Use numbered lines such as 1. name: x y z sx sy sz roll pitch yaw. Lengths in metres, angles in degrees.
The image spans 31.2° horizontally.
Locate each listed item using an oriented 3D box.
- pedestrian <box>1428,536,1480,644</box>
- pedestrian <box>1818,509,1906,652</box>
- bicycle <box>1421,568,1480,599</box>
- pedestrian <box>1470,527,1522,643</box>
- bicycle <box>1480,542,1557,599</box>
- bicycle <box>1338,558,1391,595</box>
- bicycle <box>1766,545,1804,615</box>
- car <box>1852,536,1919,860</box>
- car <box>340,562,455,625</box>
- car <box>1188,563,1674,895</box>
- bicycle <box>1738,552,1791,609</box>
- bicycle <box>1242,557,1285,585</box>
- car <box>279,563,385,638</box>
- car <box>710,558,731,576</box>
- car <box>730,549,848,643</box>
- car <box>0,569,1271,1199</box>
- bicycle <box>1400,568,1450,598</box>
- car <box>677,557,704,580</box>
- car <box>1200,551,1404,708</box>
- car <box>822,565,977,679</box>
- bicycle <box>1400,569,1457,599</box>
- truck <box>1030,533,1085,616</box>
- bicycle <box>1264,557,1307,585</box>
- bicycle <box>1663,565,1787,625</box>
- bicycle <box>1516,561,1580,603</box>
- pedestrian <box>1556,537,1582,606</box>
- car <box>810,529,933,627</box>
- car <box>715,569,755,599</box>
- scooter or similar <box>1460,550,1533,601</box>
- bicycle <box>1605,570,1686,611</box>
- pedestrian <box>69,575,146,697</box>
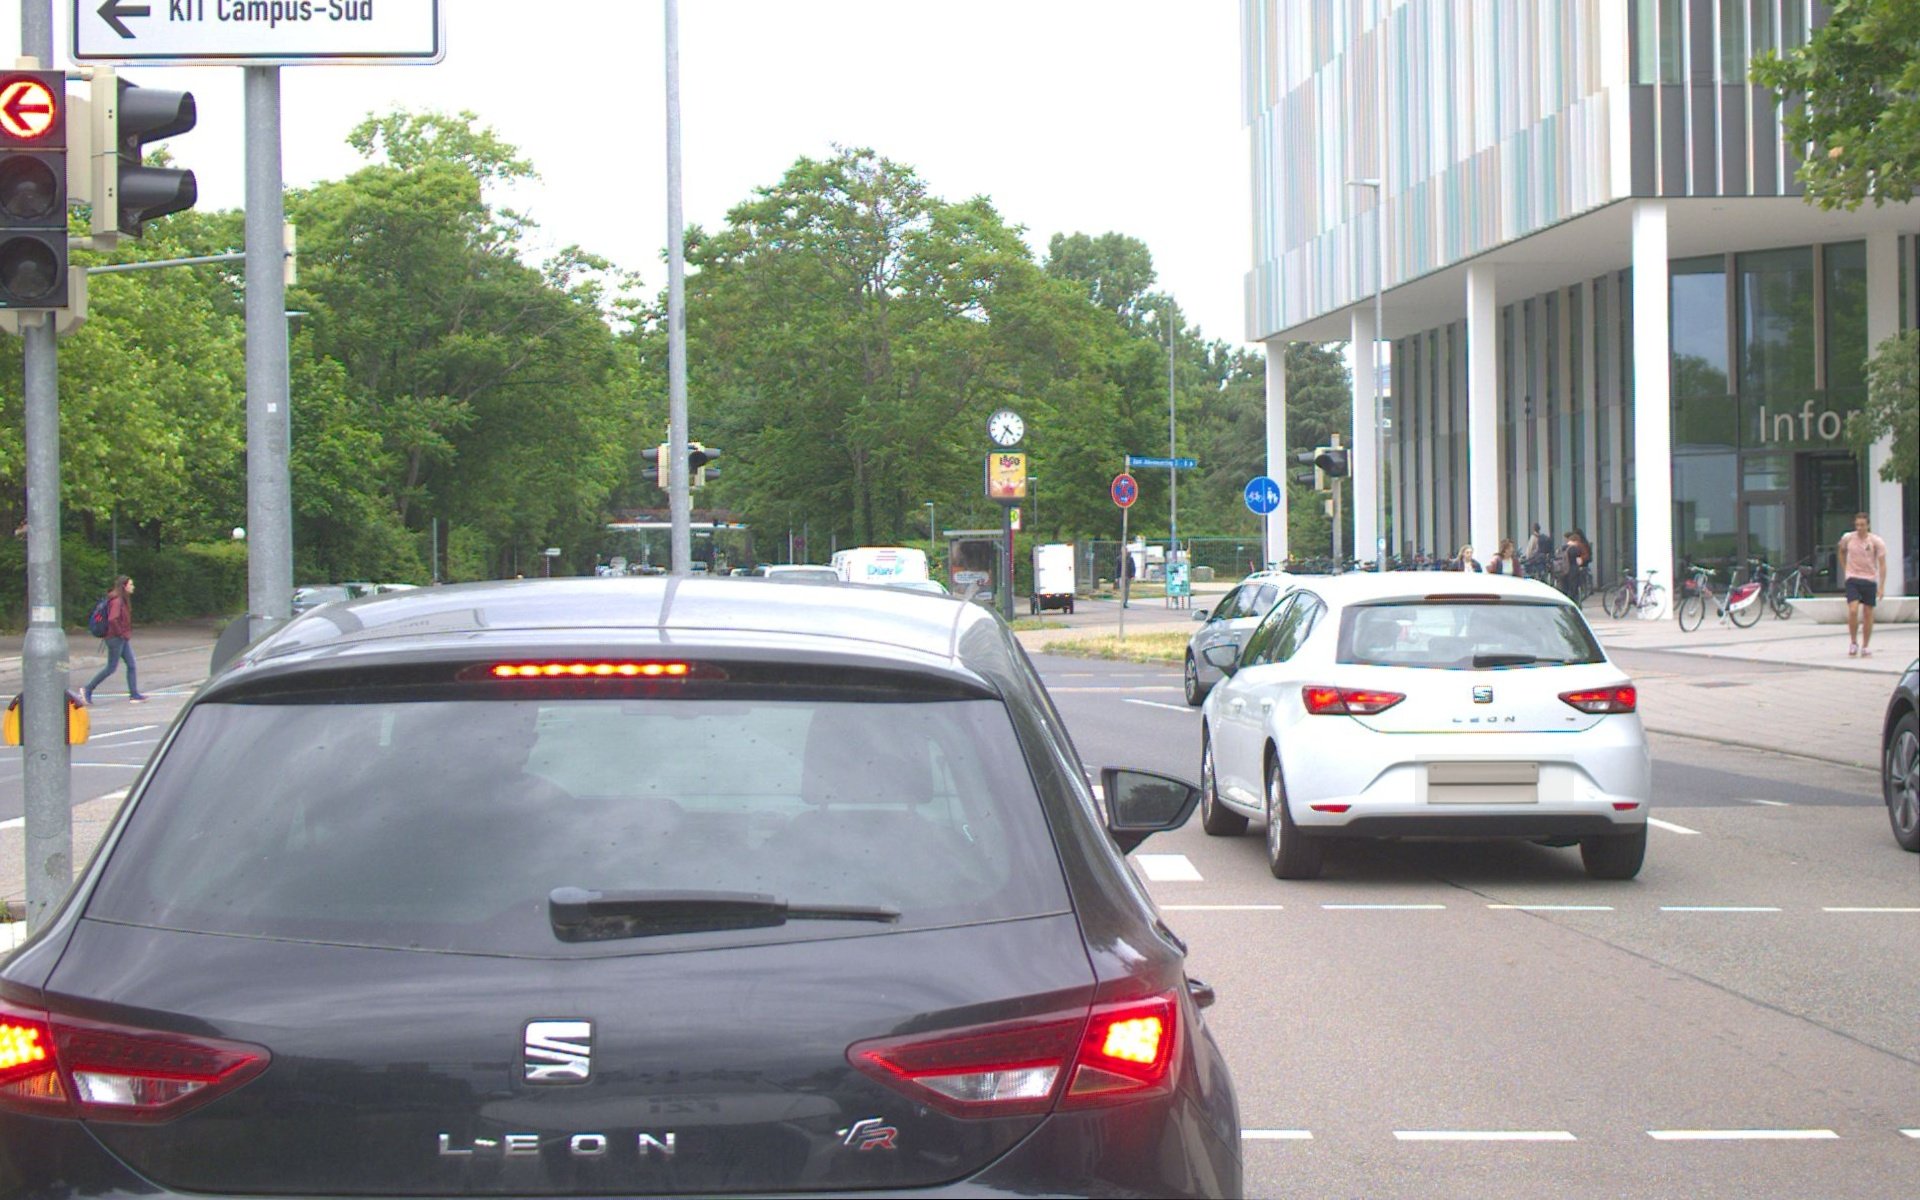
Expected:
1. pedestrian: 7.569 -0.156 52.729 0.687 1.634 0.633 0 1 -1
2. pedestrian: 11.344 -0.253 43.251 0.847 1.759 0.768 -2 1 -1
3. bicycle: 12.005 -0.396 84.196 1.374 0.703 0.416 -2 1 2
4. pedestrian: 8.259 -0.233 52.987 0.687 1.775 0.677 -1 1 -1
5. bicycle: 12.641 -0.677 77.731 1.772 1.207 0.570 -3 1 -34
6. bicycle: 10.802 -0.630 91.854 1.387 0.938 0.487 -1 1 7
7. bicycle: 15.464 -0.384 64.393 0.526 1.248 1.664 -2 1 18
8. car: 5.793 0.516 16.124 1.907 1.619 4.491 1 1 -2
9. car: -15.708 -0.189 96.160 1.759 1.582 3.998 -2 1 12
10. car: 2.225 0.554 17.222 1.781 1.458 3.871 0 1 -2
11. bicycle: 15.730 -0.395 67.186 0.620 1.042 1.703 -2 1 26
12. bicycle: 9.623 -0.907 108.968 1.258 0.845 0.482 2 0 -22
13. car: -15.720 -0.019 86.287 1.906 1.711 4.000 -2 1 -1
14. car: -17.378 -2.381 249.565 1.505 1.189 3.163 -2 1 -4
15. car: -3.050 -0.101 60.616 1.729 1.597 4.107 0 1 -8
16. car: -0.475 0.689 5.771 1.753 1.427 3.769 1 1 2
17. bicycle: 11.757 -0.425 86.885 1.240 0.703 0.489 -2 1 8
18. car: -19.277 -2.248 245.935 1.695 1.498 4.011 -2 1 -7
19. car: 3.584 0.306 36.705 1.825 1.545 4.527 1 0 2
20. car: -0.868 0.264 46.747 1.722 1.409 4.246 0 1 -6
21. bicycle: 11.719 -0.397 85.994 1.375 0.703 0.489 -2 1 8
22. truck: 2.730 -0.728 96.924 1.317 2.235 3.402 -2 1 -1
23. bicycle: 10.123 -0.901 106.862 1.234 0.820 0.482 1 0 -22
24. bicycle: 12.510 -0.088 56.198 1.886 0.895 0.697 -3 1 -21
25. bicycle: 13.001 -0.404 76.027 1.438 0.855 0.365 -3 1 -27
26. pedestrian: 12.174 -0.572 68.717 0.472 1.357 0.445 -2 1 10
27. car: -1.909 -0.490 72.654 1.966 1.965 4.345 1 1 -10
28. car: -11.276 -0.803 172.229 1.898 1.349 3.883 -2 1 -4
29. scooter or similar: 12.226 -0.558 78.310 1.671 1.103 0.499 -3 1 -32
30. bicycle: 13.889 -0.193 69.680 1.479 0.746 0.566 -2 1 -4
31. pedestrian: -11.387 0.473 45.957 0.874 1.581 0.543 -2 1 -7
